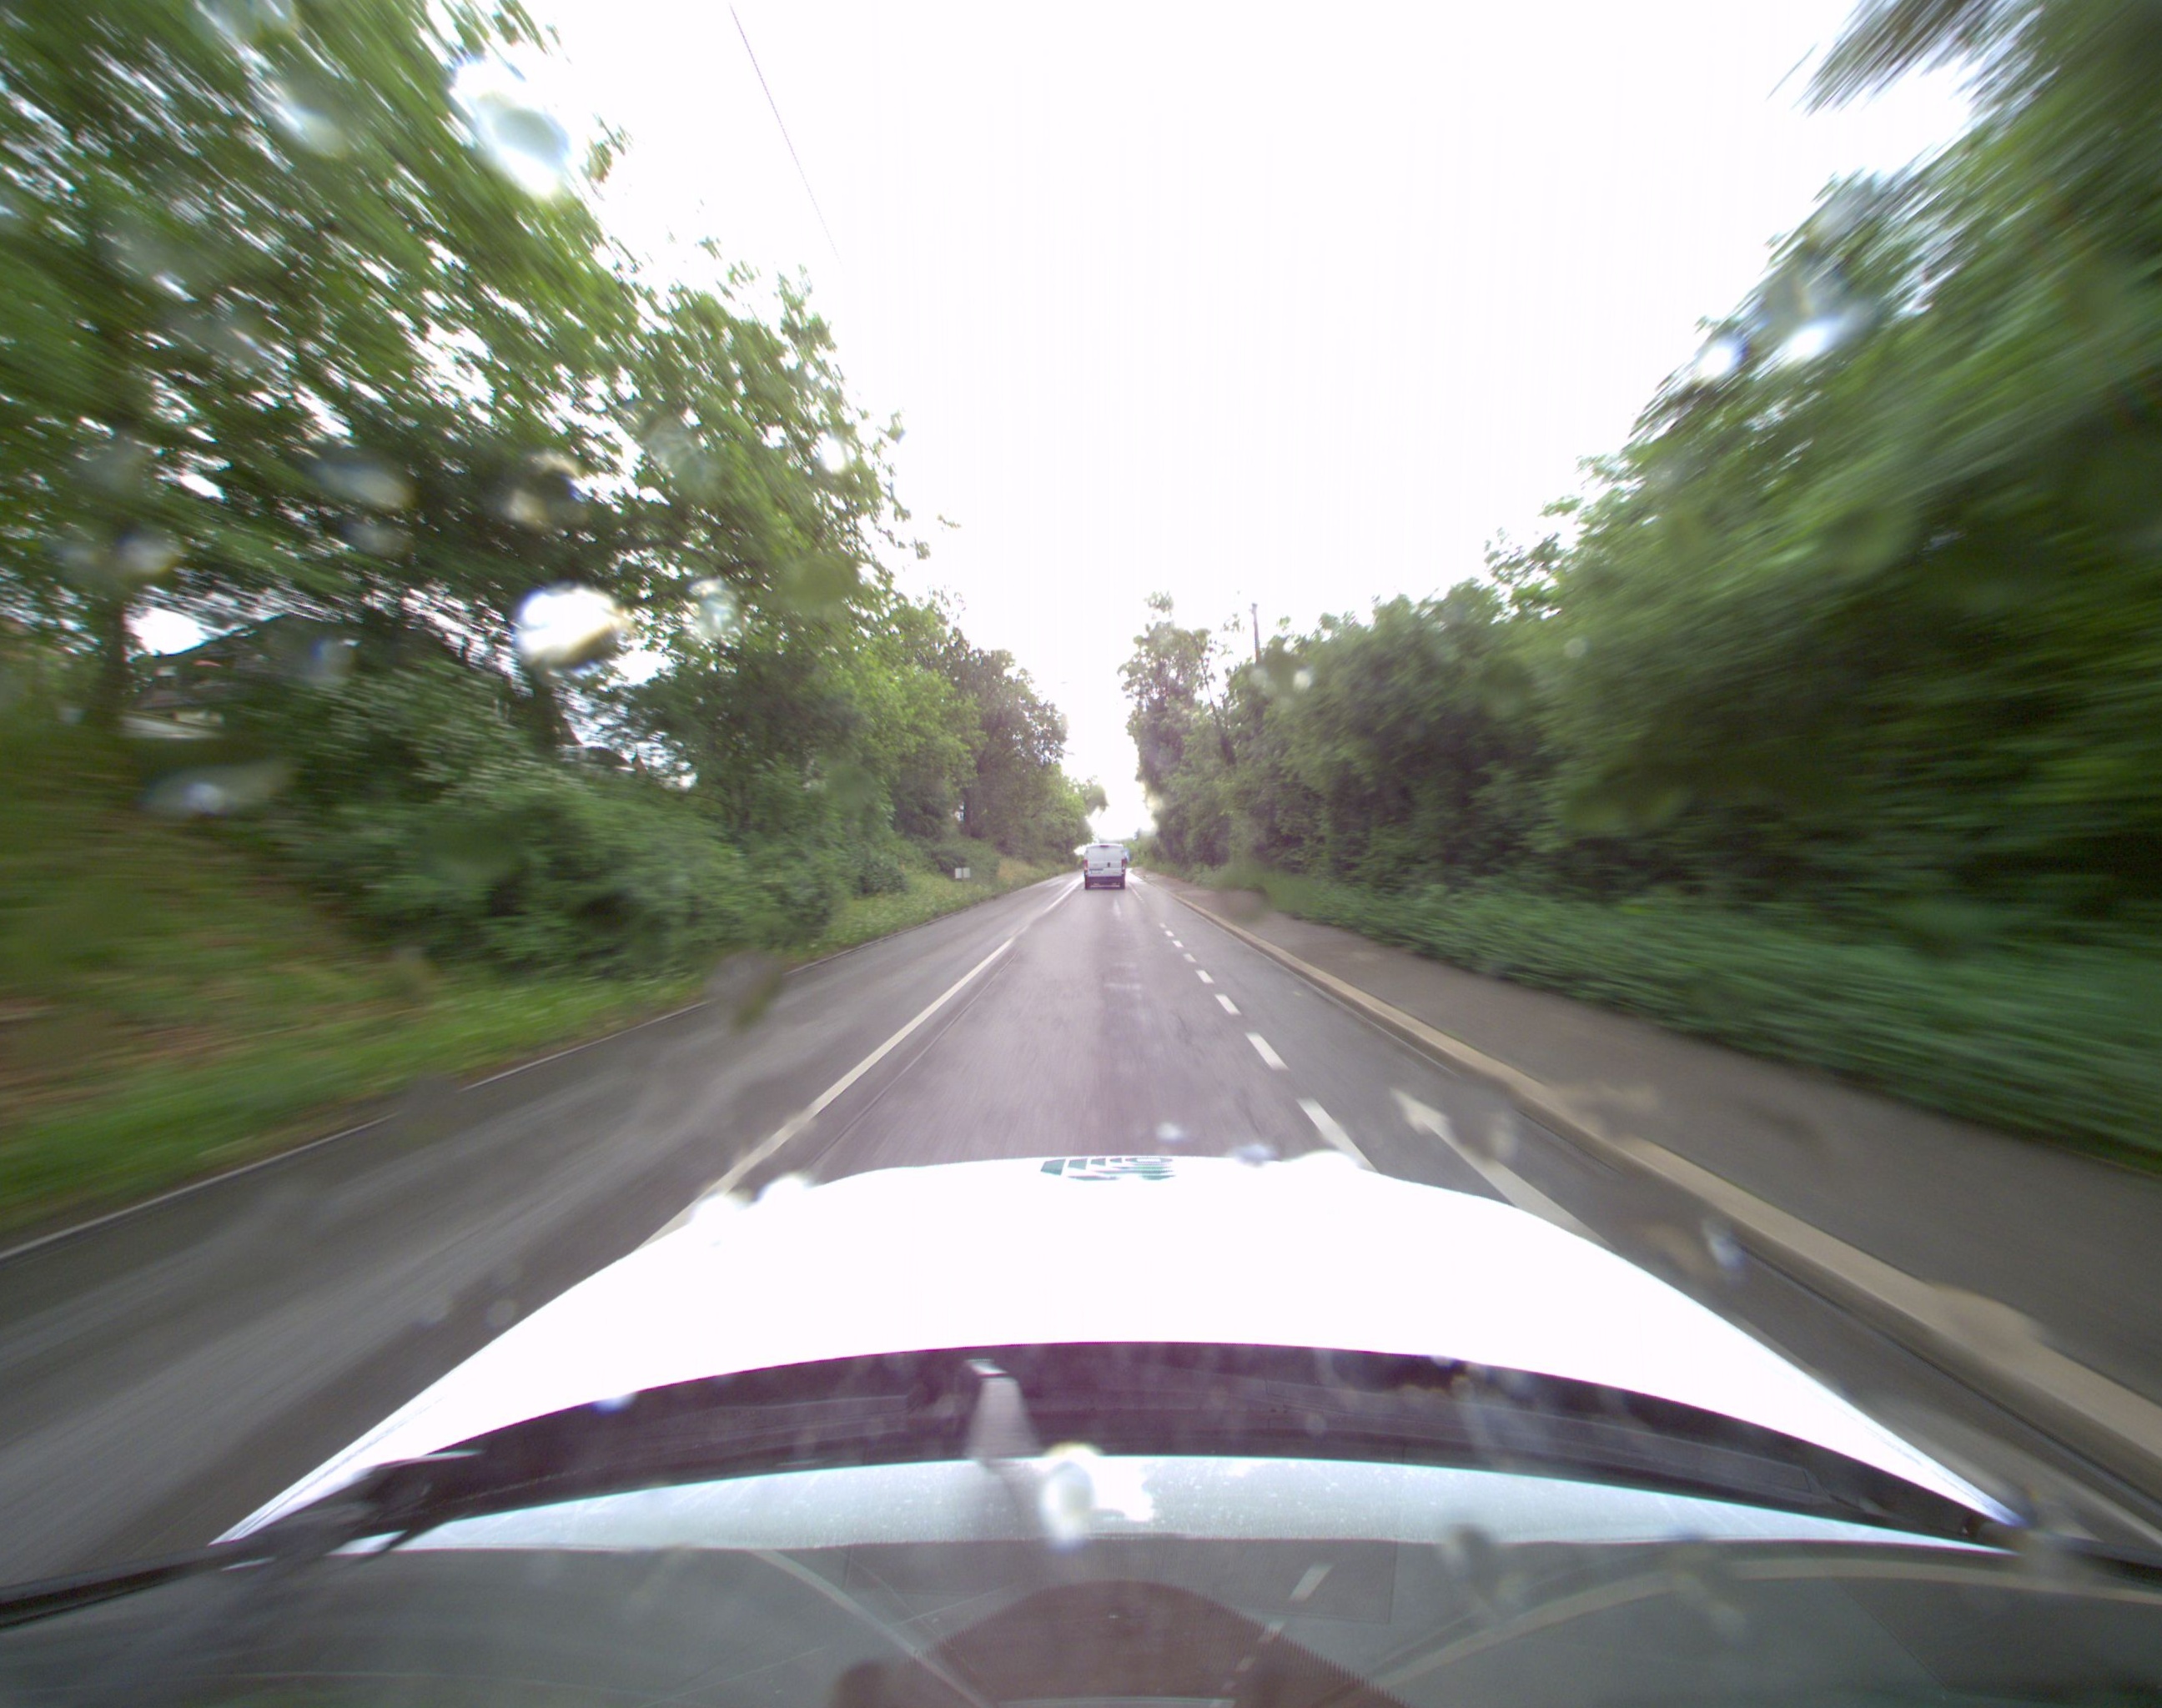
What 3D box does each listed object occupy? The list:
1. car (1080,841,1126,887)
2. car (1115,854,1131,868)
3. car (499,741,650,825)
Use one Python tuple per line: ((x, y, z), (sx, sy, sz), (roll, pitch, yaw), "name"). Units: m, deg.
((1.153, 0.493, 41.928), (2.229, 2.213, 4.715), (0, -1, 2), "car")
((5.779, 0.929, 111.613), (2.228, 1.804, 4.717), (0, -1, 3), "car")
((-14.357, -1.941, 23.395), (1.989, 2.014, 3.995), (0, -1, -4), "car")
